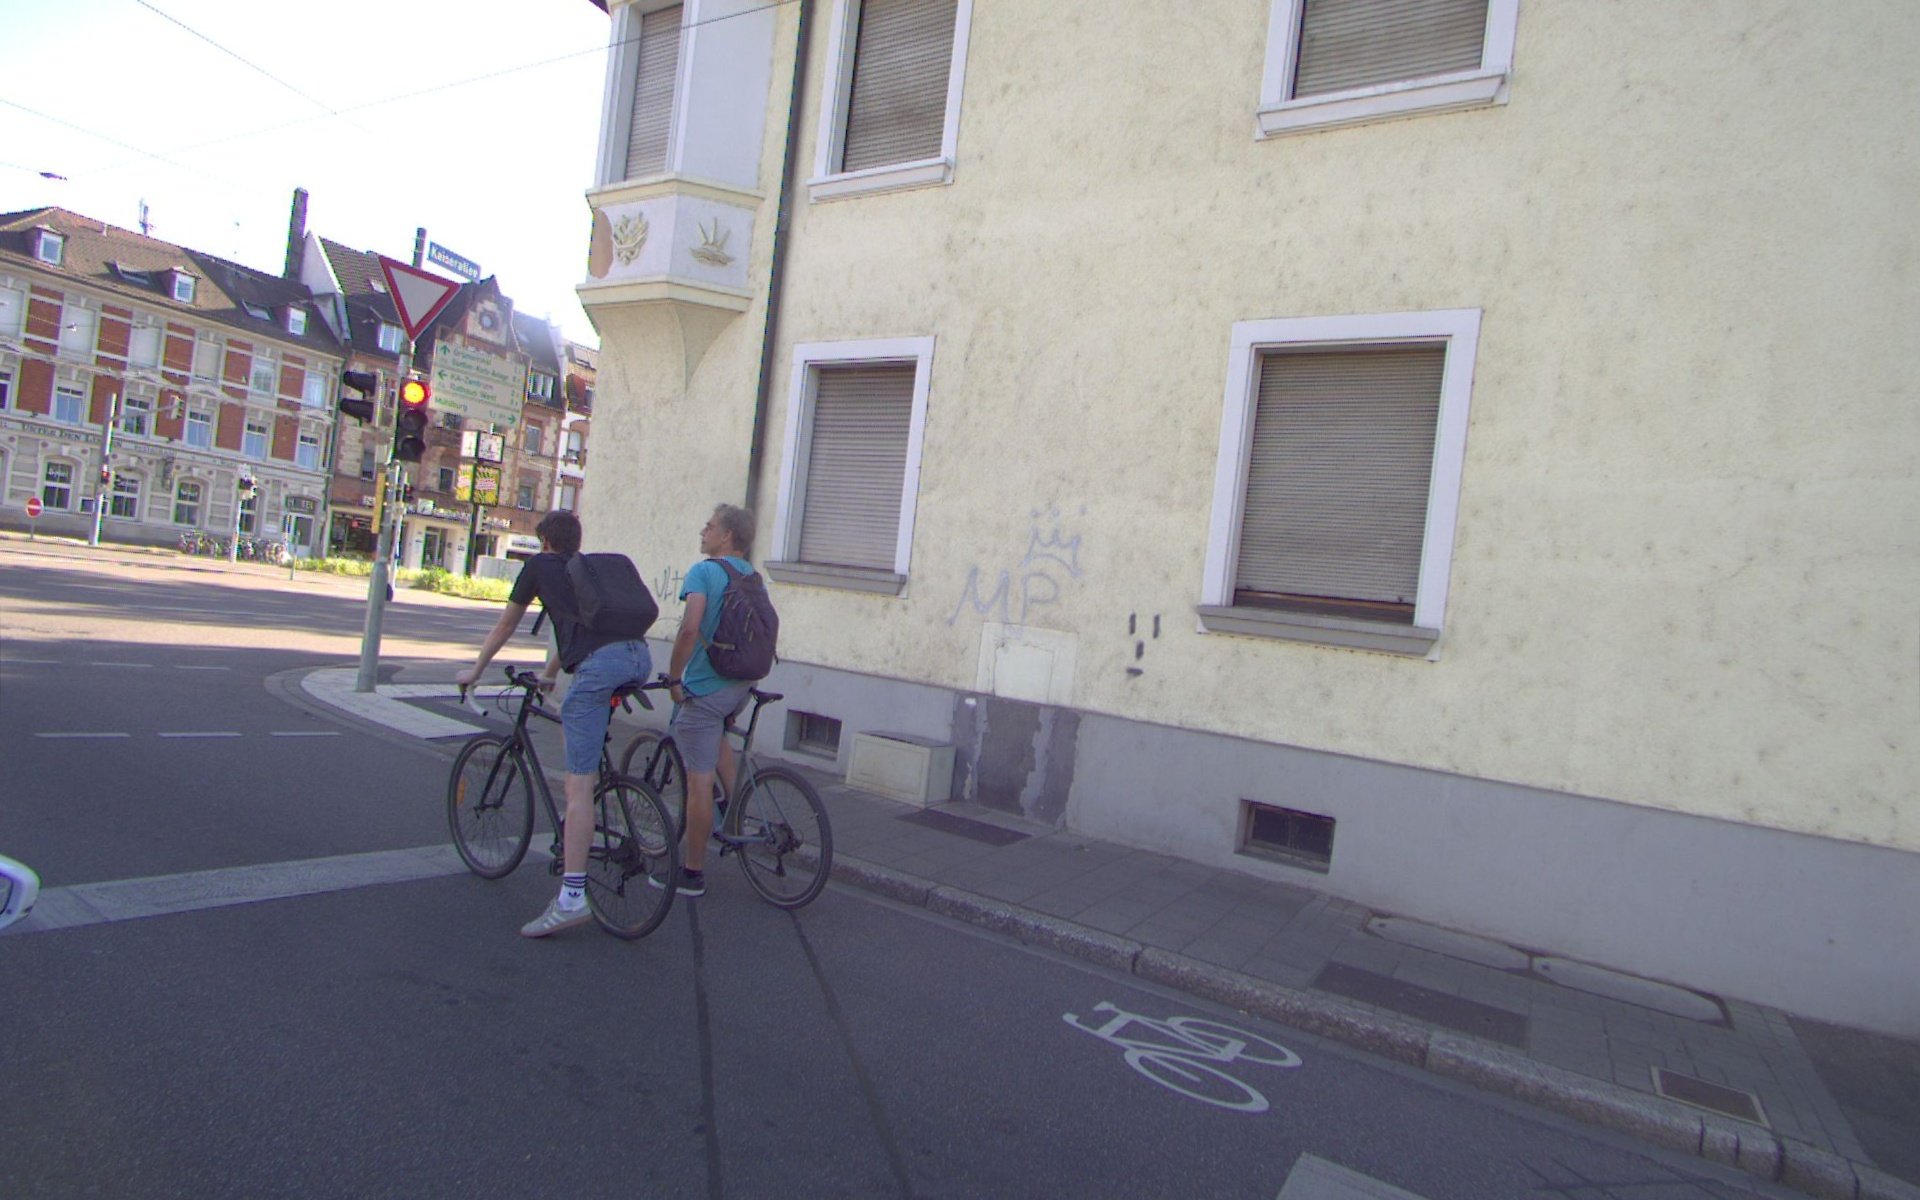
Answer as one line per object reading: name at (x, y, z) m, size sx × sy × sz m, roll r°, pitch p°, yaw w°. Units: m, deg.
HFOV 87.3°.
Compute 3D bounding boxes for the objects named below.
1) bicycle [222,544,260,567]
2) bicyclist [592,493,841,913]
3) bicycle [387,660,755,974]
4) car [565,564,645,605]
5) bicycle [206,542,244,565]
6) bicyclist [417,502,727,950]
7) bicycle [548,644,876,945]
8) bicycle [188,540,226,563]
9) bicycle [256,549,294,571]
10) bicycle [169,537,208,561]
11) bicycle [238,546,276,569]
bicycle at (-33.848, -2.088, 47.363) m, size 2.125 × 0.850 × 0.659 m, roll 6°, pitch -2°, yaw 33°
bicyclist at (-1.289, 0.491, 5.278) m, size 0.930 × 1.958 × 0.518 m, roll 10°, pitch 2°, yaw 35°
bicycle at (-1.788, 0.875, 4.511) m, size 1.721 × 0.982 × 0.519 m, roll 7°, pitch 0°, yaw 32°
car at (-23.016, -0.996, 65.326) m, size 1.968 × 2.038 × 4.430 m, roll 7°, pitch -1°, yaw 34°
bicycle at (-34.182, -2.156, 46.766) m, size 2.125 × 0.850 × 0.659 m, roll 6°, pitch -2°, yaw 33°
bicyclist at (-1.740, 0.492, 4.490) m, size 1.098 × 1.722 × 0.573 m, roll 7°, pitch 0°, yaw 32°
bicycle at (-1.355, 0.930, 5.288) m, size 1.767 × 1.104 × 0.518 m, roll 9°, pitch 1°, yaw 35°
bicycle at (-34.555, -2.230, 46.145) m, size 2.125 × 0.850 × 0.659 m, roll 6°, pitch -2°, yaw 33°
bicycle at (-33.105, -1.941, 48.598) m, size 2.125 × 0.850 × 0.659 m, roll 6°, pitch -2°, yaw 33°
bicycle at (-34.871, -2.298, 45.478) m, size 2.125 × 0.850 × 0.659 m, roll 6°, pitch -2°, yaw 33°
bicycle at (-33.492, -2.020, 47.893) m, size 2.125 × 0.850 × 0.659 m, roll 6°, pitch -2°, yaw 33°
